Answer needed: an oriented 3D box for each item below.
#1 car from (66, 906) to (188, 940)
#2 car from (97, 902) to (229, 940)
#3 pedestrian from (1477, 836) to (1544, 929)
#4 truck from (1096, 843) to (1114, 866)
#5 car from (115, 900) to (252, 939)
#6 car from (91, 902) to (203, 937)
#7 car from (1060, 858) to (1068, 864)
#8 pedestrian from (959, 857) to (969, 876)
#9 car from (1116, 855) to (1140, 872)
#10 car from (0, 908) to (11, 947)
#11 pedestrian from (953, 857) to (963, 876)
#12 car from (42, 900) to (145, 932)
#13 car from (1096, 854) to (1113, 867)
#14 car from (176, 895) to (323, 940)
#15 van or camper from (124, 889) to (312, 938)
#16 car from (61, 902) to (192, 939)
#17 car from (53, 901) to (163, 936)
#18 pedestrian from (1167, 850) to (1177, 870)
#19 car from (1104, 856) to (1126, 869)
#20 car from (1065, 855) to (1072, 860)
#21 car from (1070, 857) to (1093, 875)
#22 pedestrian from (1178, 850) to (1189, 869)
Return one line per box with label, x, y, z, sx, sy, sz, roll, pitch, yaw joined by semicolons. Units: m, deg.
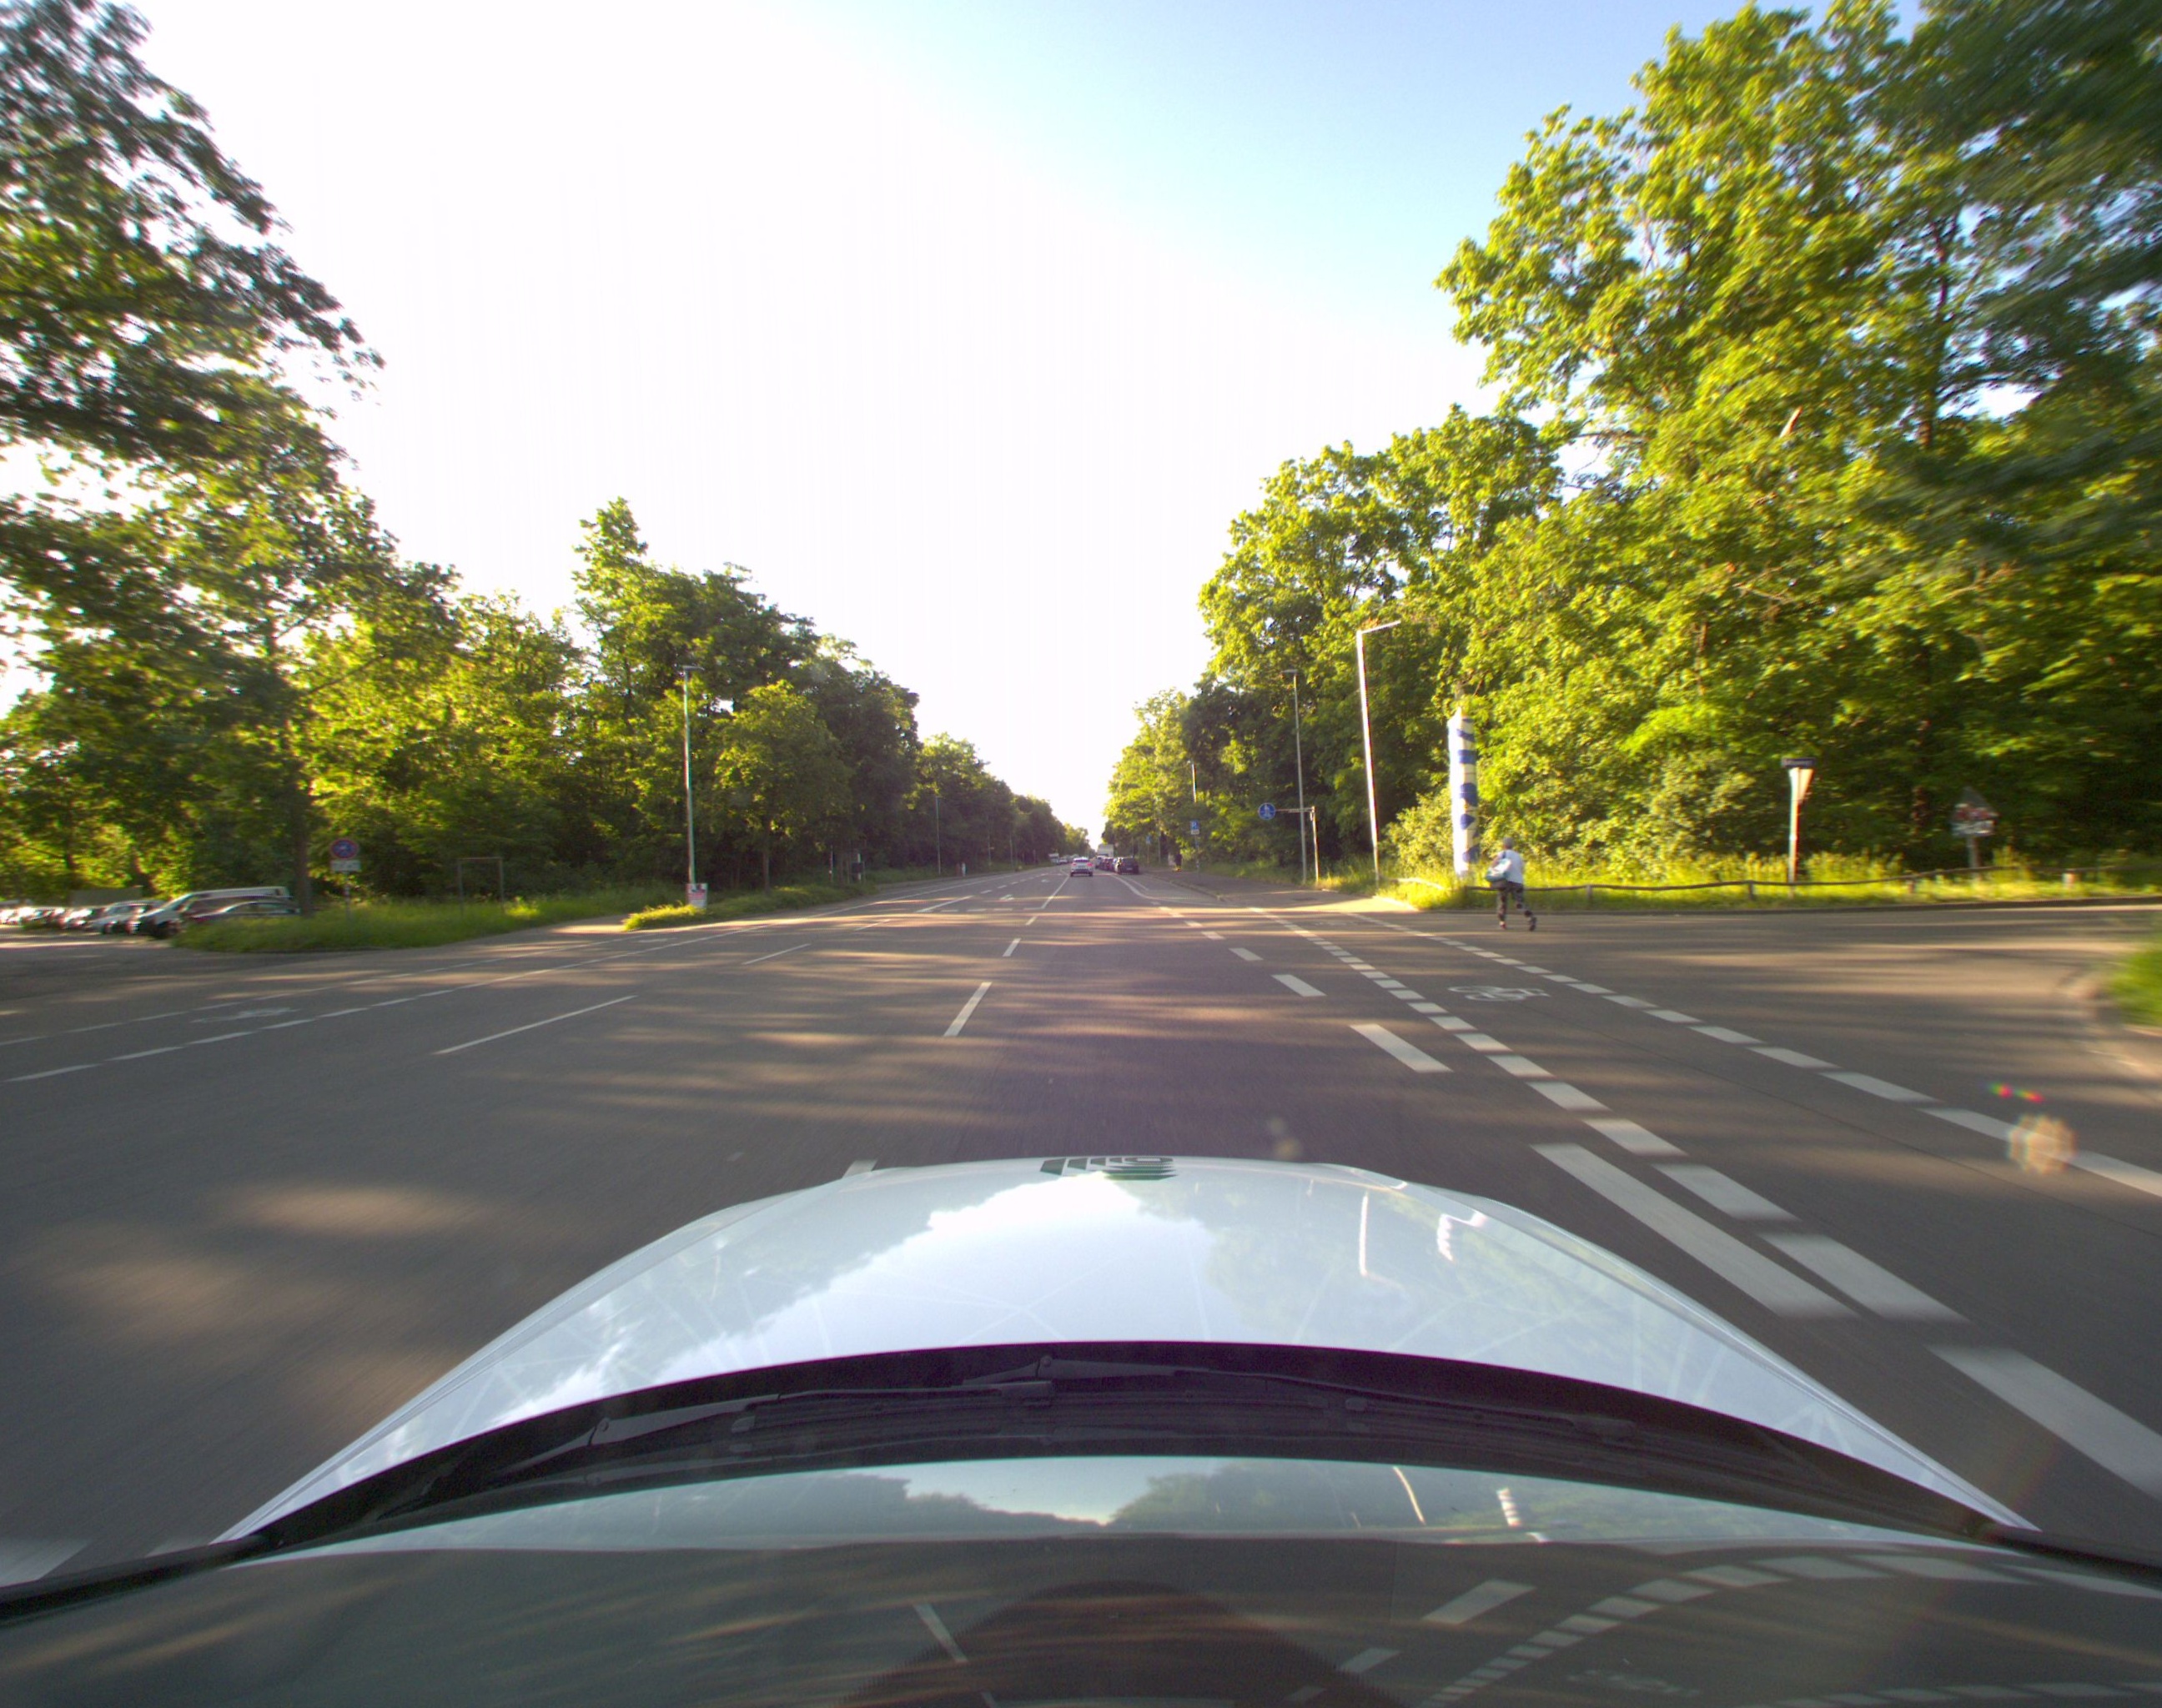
car;-51.711;3.694;44.244;1.652;1.466;4.025;-3;0;29
car;-45.126;3.266;40.137;1.652;1.466;4.025;-3;0;29
pedestrian;7.532;0.490;14.313;0.751;1.563;0.804;-2;0;6
truck;3.858;0.114;131.680;2.790;3.570;8.034;-1;0;0
car;-42.383;3.066;38.559;1.652;1.466;4.025;-3;0;29
car;-55.587;3.867;48.537;1.974;1.739;4.025;-3;0;30
car;-4.613;1.893;218.805;1.987;1.327;3.999;-3;0;0
pedestrian;-13.024;1.399;90.751;0.827;2.013;1.270;-3;0;3
car;4.152;0.820;72.169;1.986;1.327;4.001;-3;0;1
car;-45.506;3.045;33.098;4.441;1.544;2.013;-3;0;32
pedestrian;-13.709;1.383;90.796;0.860;2.013;1.270;-3;0;3
car;-65.073;4.035;53.741;1.974;1.739;4.025;-3;0;30
car;3.009;0.812;103.936;1.986;1.555;4.001;-3;0;1
car;-34.751;2.612;34.136;1.974;1.526;4.026;-3;0;36
van or camper;-38.744;2.616;36.773;1.974;2.014;5.451;-2;-3;31
car;-48.153;3.325;41.168;1.652;1.466;4.025;-3;0;29
car;-59.945;3.938;50.233;1.974;1.739;4.025;-3;0;30
pedestrian;7.490;0.491;67.199;0.696;1.653;0.876;-3;0;1
car;3.620;0.878;87.891;1.988;1.327;3.997;-3;0;-2
car;-3.790;0.918;241.802;1.987;1.327;3.999;-3;0;0
car;0.013;0.975;66.889;1.756;1.459;3.815;-1;0;-2
pedestrian;8.480;0.452;67.201;0.741;1.599;0.798;-3;0;1
